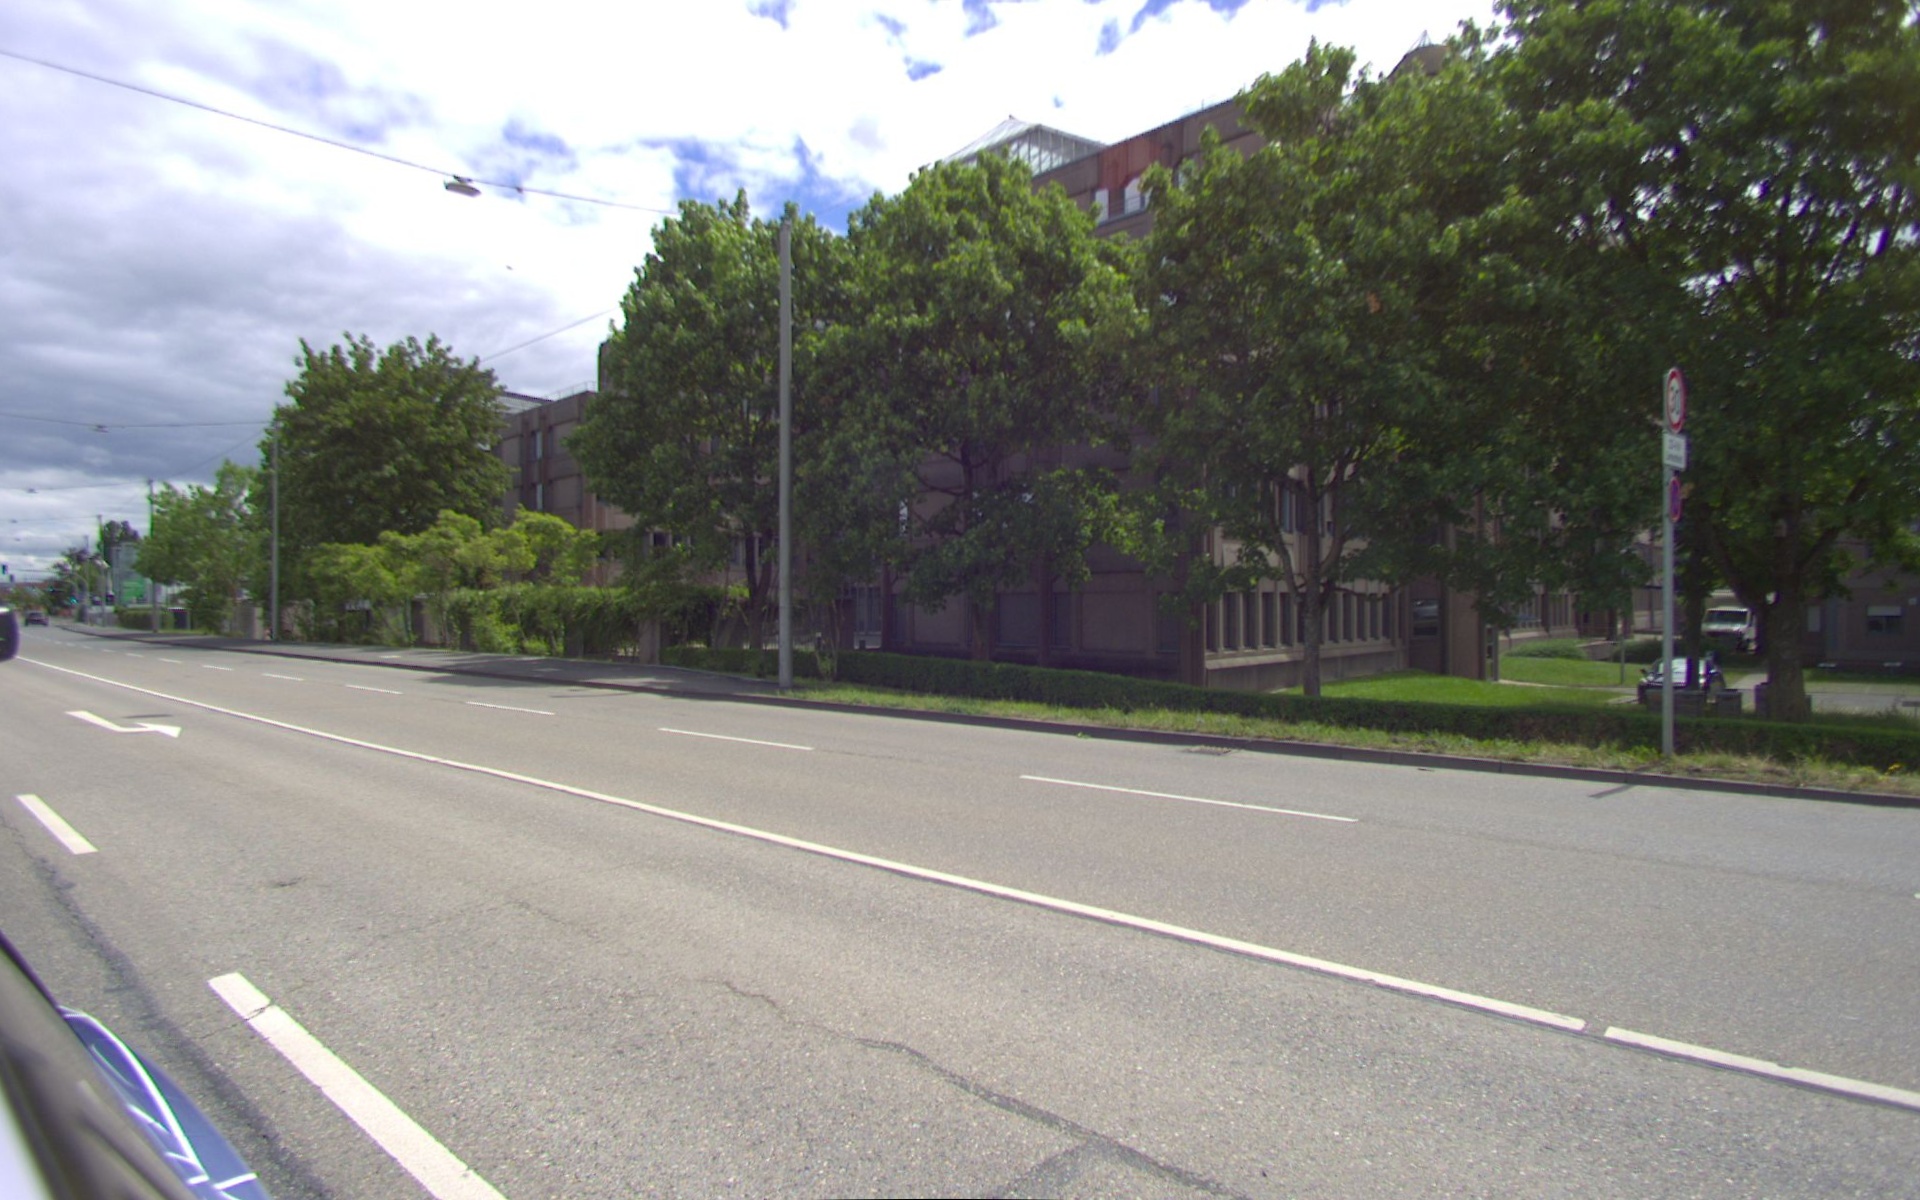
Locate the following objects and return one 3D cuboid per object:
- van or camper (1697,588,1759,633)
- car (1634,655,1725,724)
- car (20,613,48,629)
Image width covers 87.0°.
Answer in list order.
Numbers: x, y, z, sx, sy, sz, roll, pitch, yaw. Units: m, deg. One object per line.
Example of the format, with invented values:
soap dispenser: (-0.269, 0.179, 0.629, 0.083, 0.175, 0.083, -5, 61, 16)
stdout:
van or camper: (38.493, 0.498, 50.797, 2.354, 2.120, 5.140, 0, 0, 37)
car: (21.434, 2.583, 30.089, 1.786, 1.741, 3.944, 0, -1, 42)
car: (-100.158, 2.225, 109.464, 4.572, 1.627, 1.847, 0, 0, 43)
